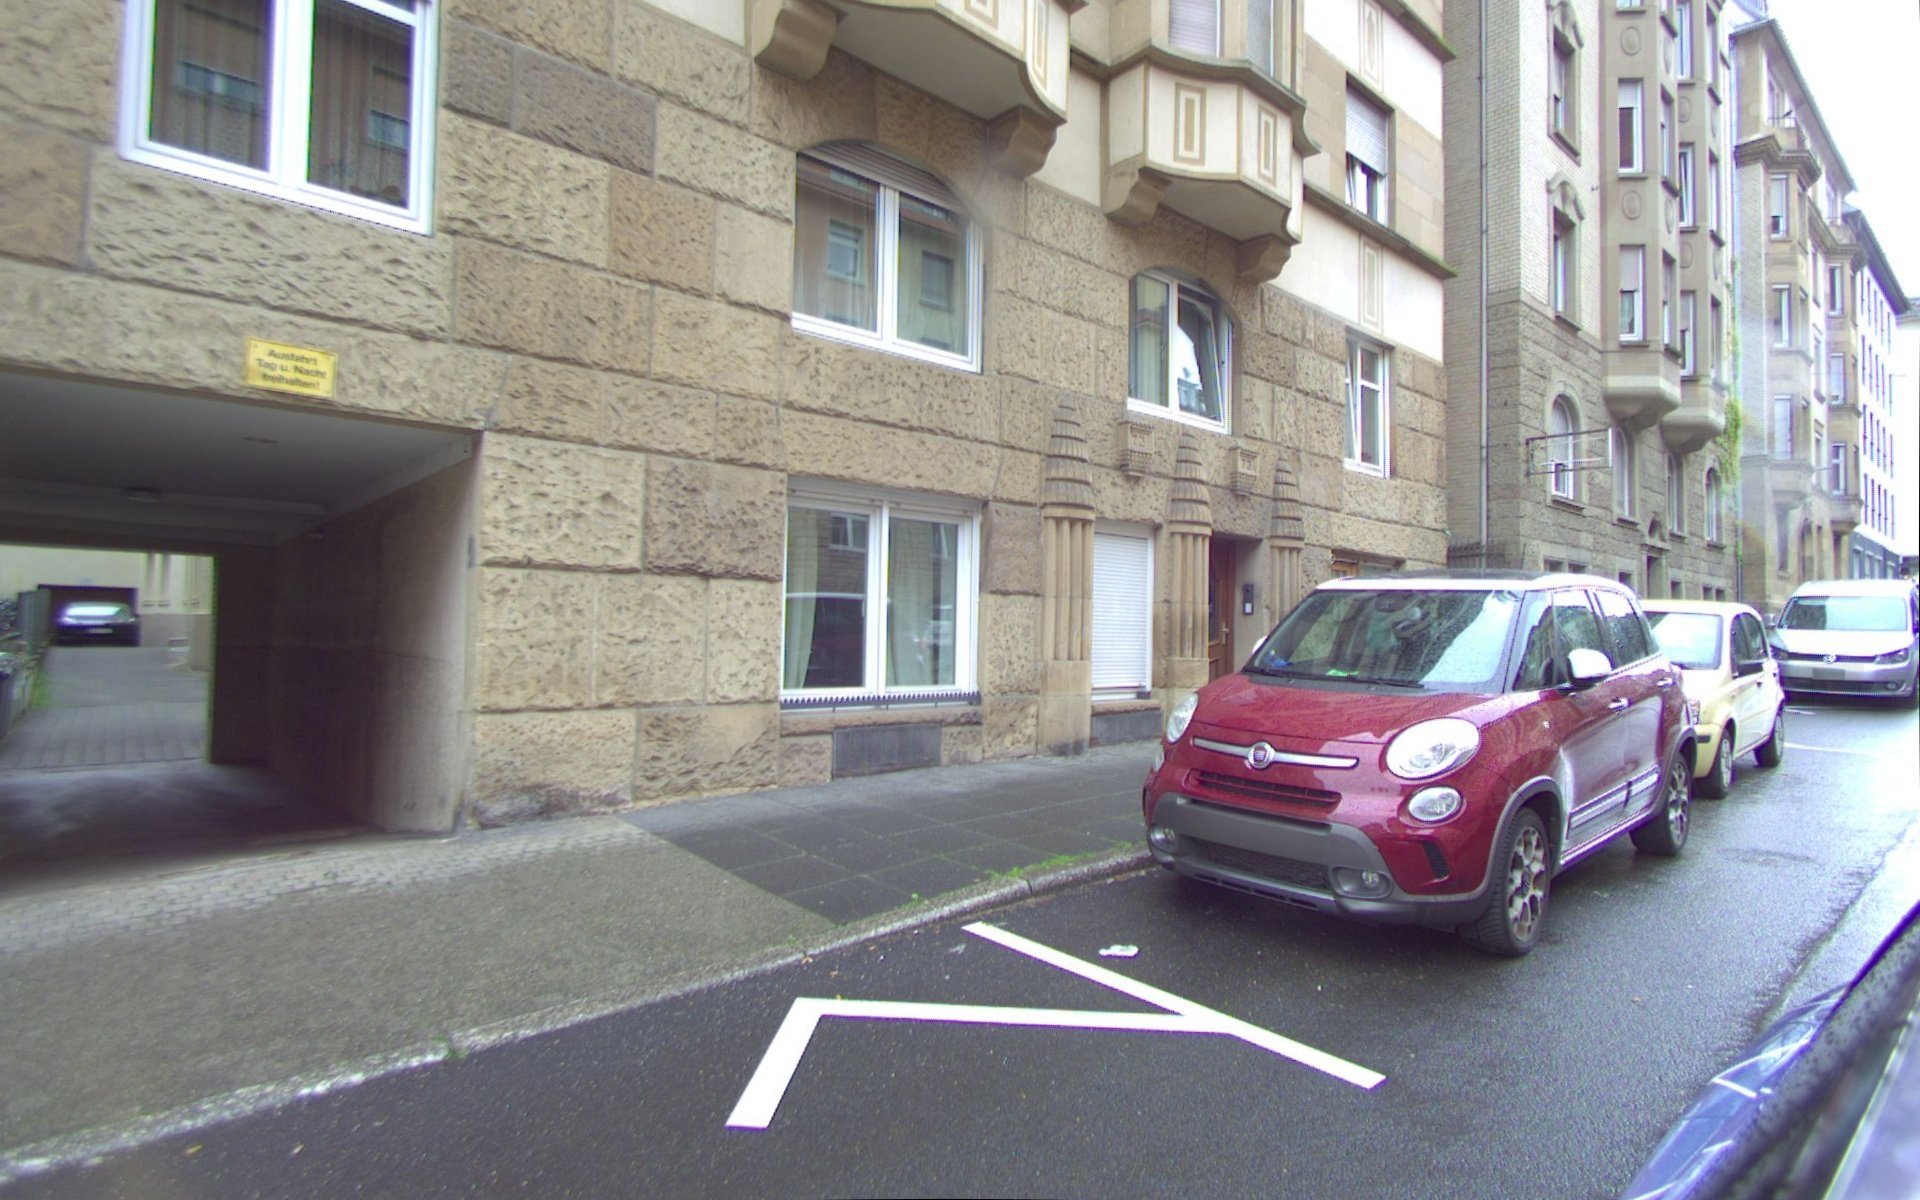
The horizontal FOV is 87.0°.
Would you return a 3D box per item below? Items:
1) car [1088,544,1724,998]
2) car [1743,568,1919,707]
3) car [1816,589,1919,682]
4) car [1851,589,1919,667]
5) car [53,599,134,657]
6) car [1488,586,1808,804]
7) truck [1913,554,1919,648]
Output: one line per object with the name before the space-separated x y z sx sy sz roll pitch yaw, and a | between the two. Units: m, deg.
car | 2.682 0.615 5.627 3.932 1.619 1.804 0 -1 -42
car | 13.768 0.500 15.505 4.380 1.825 1.966 0 -1 -41
car | 17.176 0.599 18.496 3.934 1.549 1.994 0 -1 -45
car | 20.482 0.545 21.435 3.860 1.549 1.889 0 -1 -41
car | -25.179 0.776 29.455 1.692 1.541 4.098 0 -1 -41
car | 6.204 0.677 8.988 3.517 1.549 1.578 0 -1 -43
truck | 29.169 0.018 28.873 6.036 2.568 2.233 0 -1 -41
